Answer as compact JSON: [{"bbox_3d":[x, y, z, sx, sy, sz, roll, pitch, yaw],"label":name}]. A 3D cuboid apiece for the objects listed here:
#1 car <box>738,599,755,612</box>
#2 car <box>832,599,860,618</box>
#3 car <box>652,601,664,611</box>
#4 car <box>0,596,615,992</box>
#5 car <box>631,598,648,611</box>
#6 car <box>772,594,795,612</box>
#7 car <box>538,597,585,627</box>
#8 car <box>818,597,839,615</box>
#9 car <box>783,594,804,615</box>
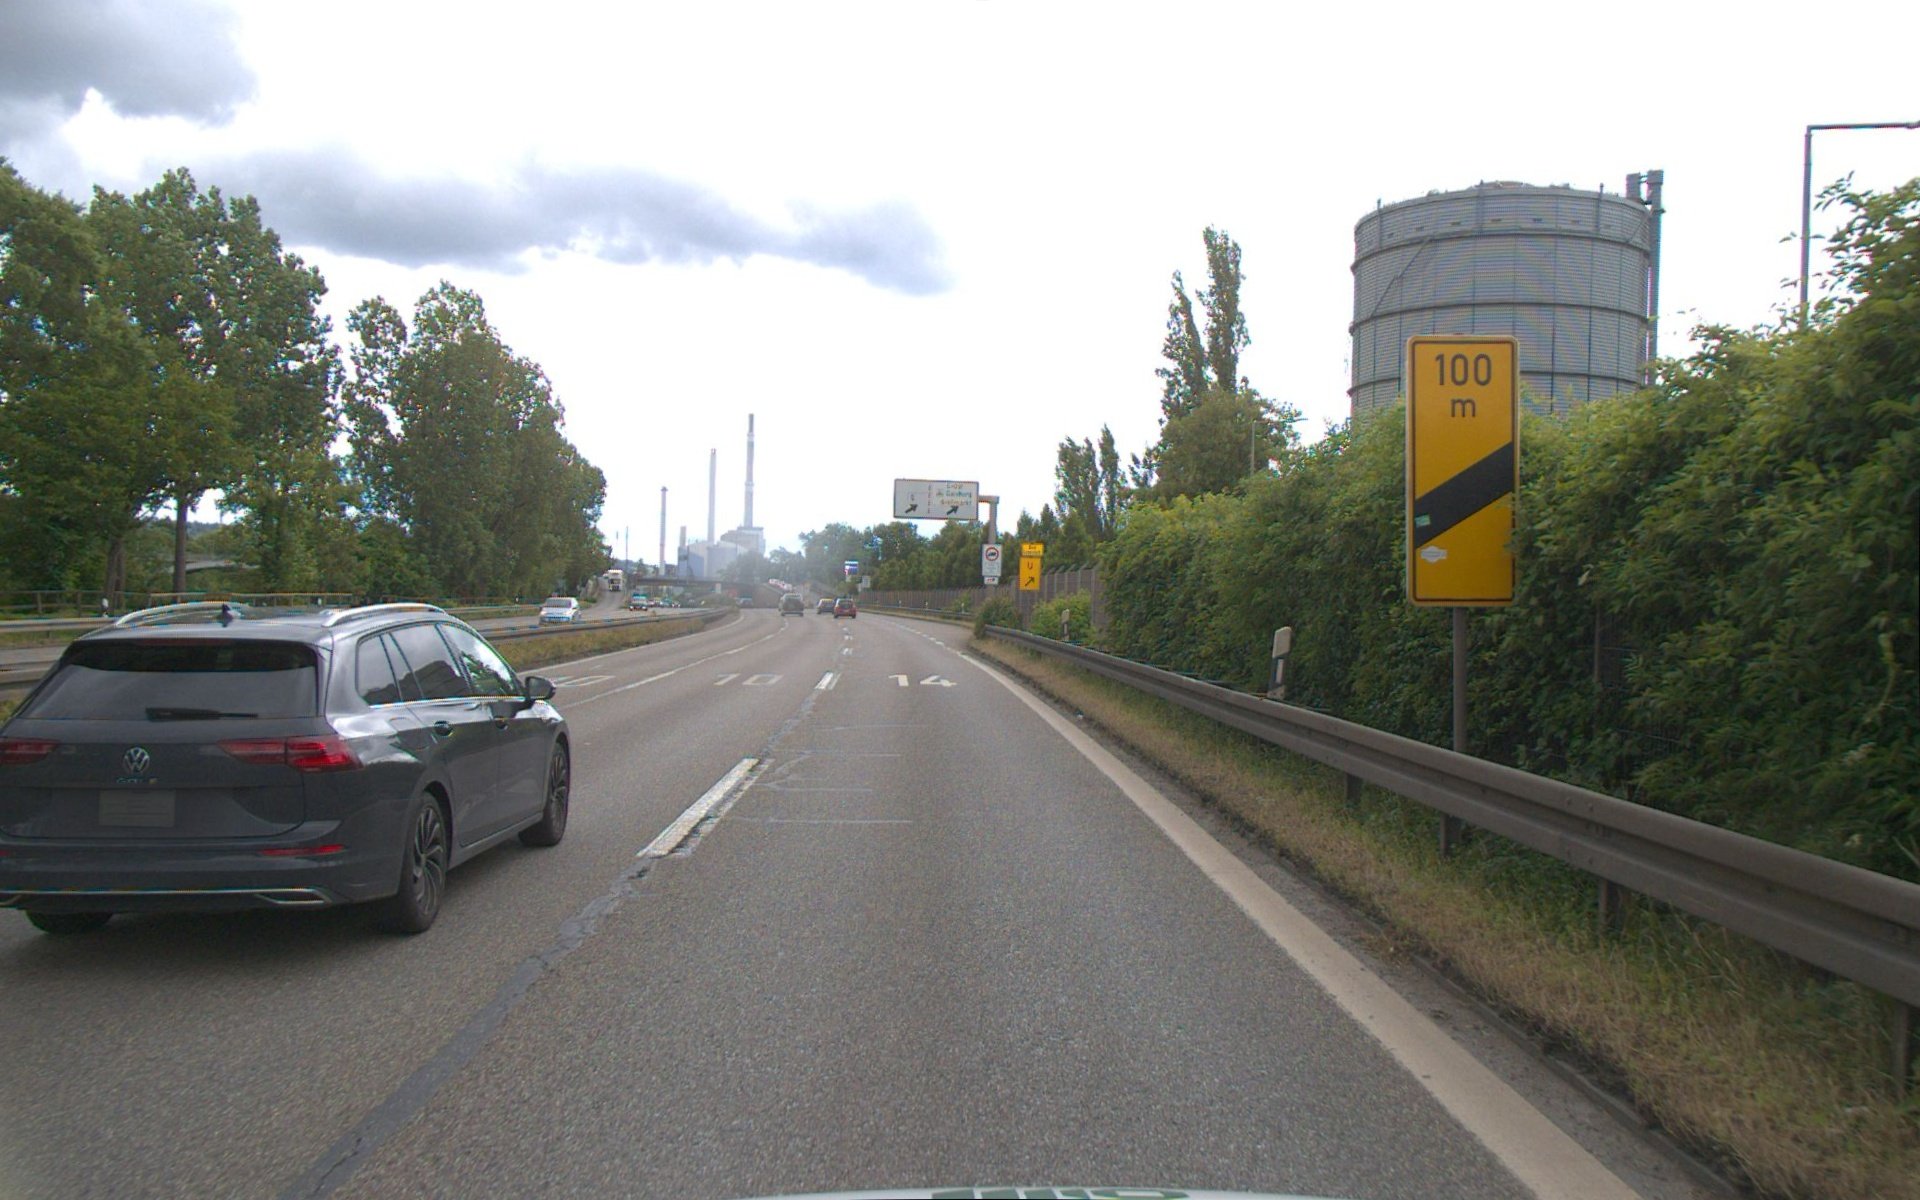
[{"bbox_3d":[-29.539,0.786,228.692,1.670,1.772,4.374,0,0,-16],"label":"car"},{"bbox_3d":[-9.204,0.672,133.223,1.937,1.448,4.892,0,0,-8],"label":"car"},{"bbox_3d":[-45.526,0.883,249.142,1.666,1.438,4.629,0,0,-9],"label":"car"},{"bbox_3d":[-3.239,0.732,8.726,1.807,1.448,4.900,2,0,-1],"label":"car"},{"bbox_3d":[-34.208,0.460,176.457,1.666,1.438,4.627,0,0,-10],"label":"car"},{"bbox_3d":[-19.944,0.367,186.958,1.979,1.968,4.882,0,0,-14],"label":"car"},{"bbox_3d":[-19.430,0.558,80.753,1.582,1.410,3.730,1,0,-4],"label":"car"},{"bbox_3d":[-12.878,0.592,161.524,1.666,1.772,4.383,0,0,-9],"label":"car"},{"bbox_3d":[-14.386,0.410,142.551,1.665,1.772,3.993,0,0,-7],"label":"car"}]
